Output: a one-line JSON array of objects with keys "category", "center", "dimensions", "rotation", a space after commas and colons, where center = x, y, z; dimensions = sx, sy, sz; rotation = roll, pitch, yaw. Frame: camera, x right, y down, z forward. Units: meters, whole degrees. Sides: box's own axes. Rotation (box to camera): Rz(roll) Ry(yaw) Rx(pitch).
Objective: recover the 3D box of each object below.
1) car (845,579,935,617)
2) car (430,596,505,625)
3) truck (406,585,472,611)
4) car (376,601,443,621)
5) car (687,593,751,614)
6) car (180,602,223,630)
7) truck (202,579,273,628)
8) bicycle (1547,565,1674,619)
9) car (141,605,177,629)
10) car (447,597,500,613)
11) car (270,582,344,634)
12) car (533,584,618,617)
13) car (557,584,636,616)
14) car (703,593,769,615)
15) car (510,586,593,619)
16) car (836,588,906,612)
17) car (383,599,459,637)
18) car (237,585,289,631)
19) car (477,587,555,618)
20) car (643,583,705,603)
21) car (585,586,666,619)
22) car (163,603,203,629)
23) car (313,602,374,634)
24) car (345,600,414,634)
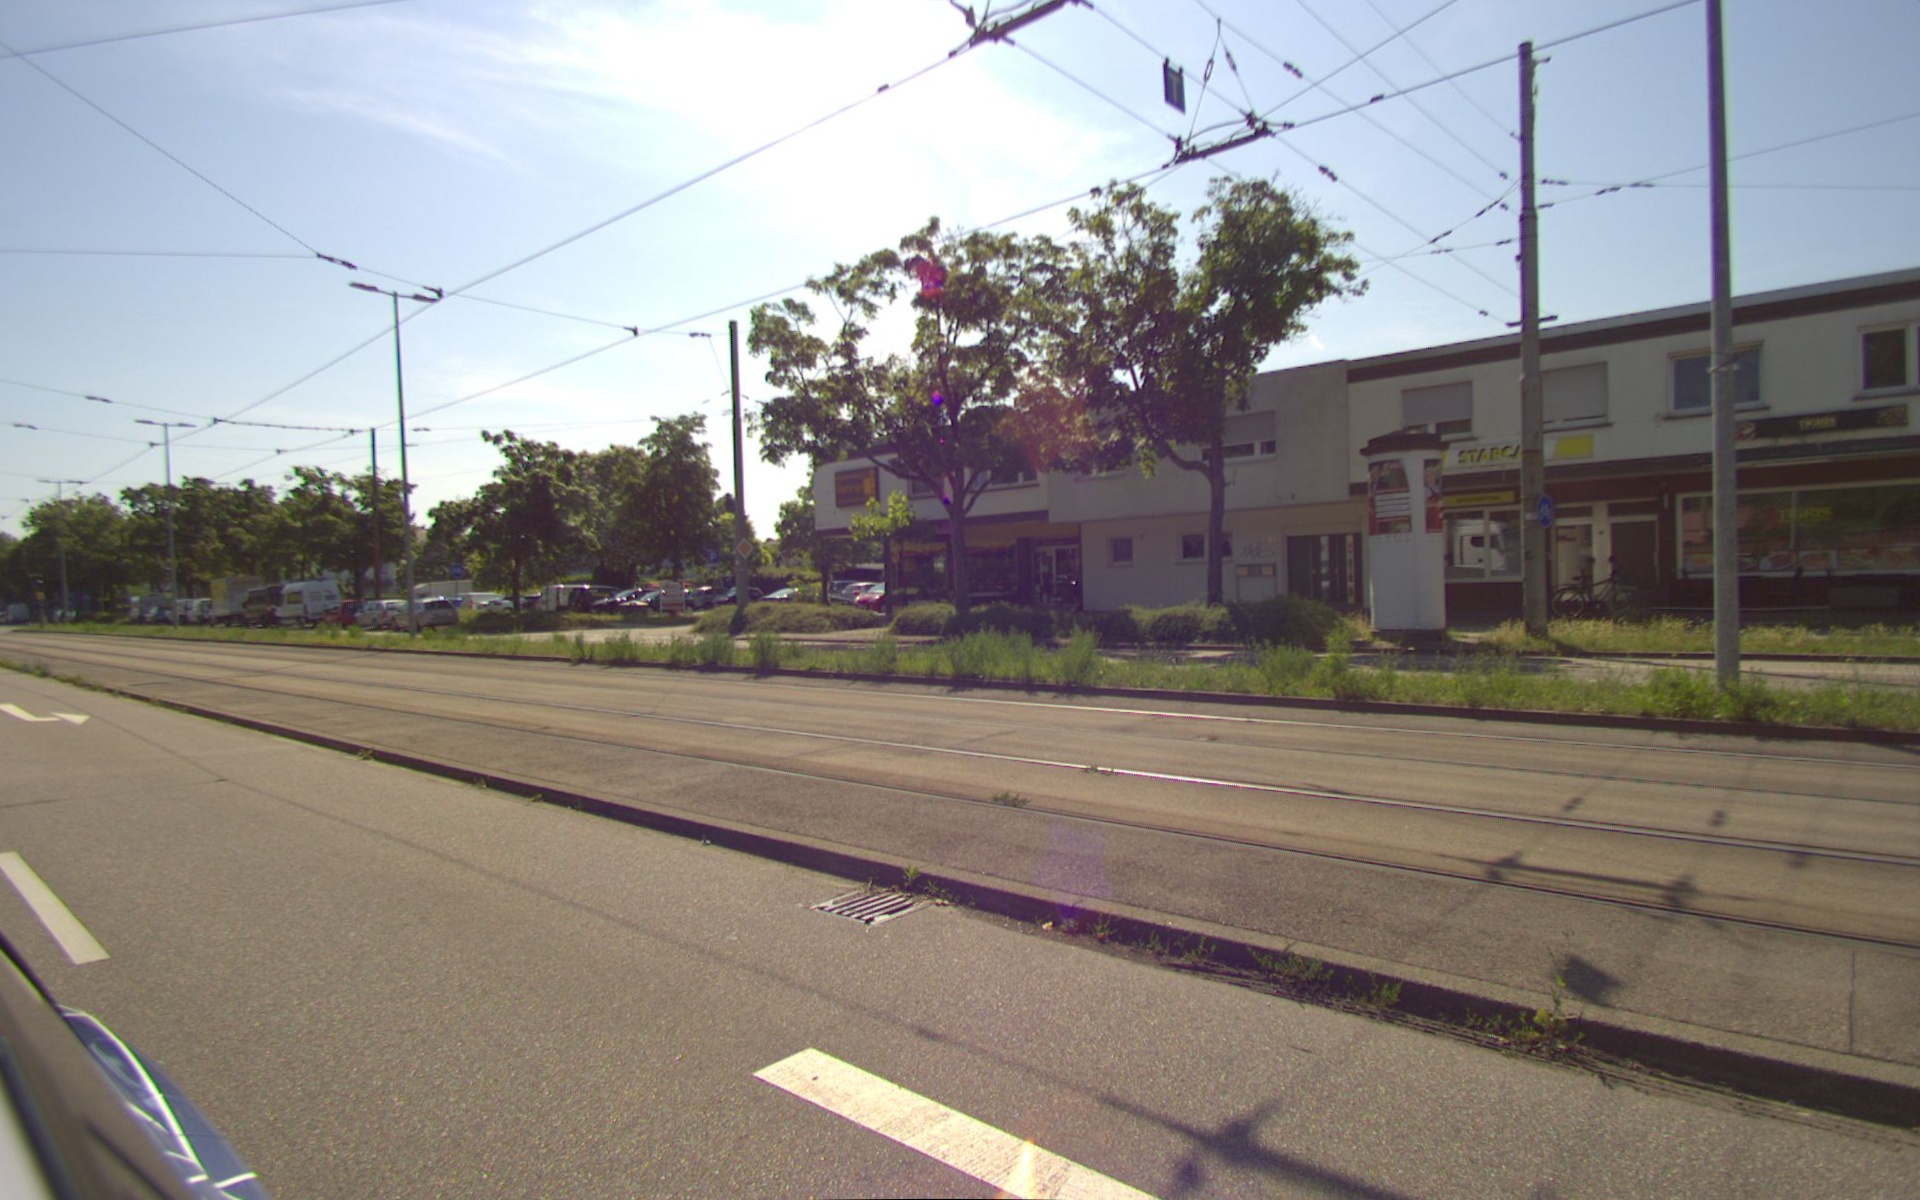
[{"category": "car", "center": [-3.281, -0.115, 48.019], "dimensions": [1.676, 1.616, 4.197], "rotation": [-1, 1, 42]}, {"category": "car", "center": [-33.302, 0.708, 68.420], "dimensions": [5.739, 1.825, 2.560], "rotation": [-1, 1, 42]}, {"category": "truck", "center": [-52.978, -0.237, 103.014], "dimensions": [1.988, 2.398, 5.584], "rotation": [-1, 1, 38]}, {"category": "car", "center": [-42.071, 0.812, 77.435], "dimensions": [1.676, 1.345, 4.198], "rotation": [-1, 1, 41]}, {"category": "car", "center": [-17.012, 0.245, 71.541], "dimensions": [1.676, 1.345, 4.197], "rotation": [-1, 1, 42]}, {"category": "car", "center": [-54.936, 1.159, 73.288], "dimensions": [4.631, 1.817, 1.483], "rotation": [-1, 4, 41]}, {"category": "truck", "center": [-48.314, 0.241, 67.623], "dimensions": [5.902, 2.956, 2.476], "rotation": [-1, 4, 42]}, {"category": "bicycle", "center": [14.687, -0.165, 22.897], "dimensions": [2.333, 1.161, 0.779], "rotation": [-1, -1, 42]}, {"category": "car", "center": [-64.411, 1.383, 81.363], "dimensions": [3.685, 1.799, 1.484], "rotation": [-1, 4, 40]}, {"category": "car", "center": [-45.994, 0.428, 95.683], "dimensions": [1.676, 1.345, 4.198], "rotation": [-1, 1, 41]}, {"category": "car", "center": [-37.254, 0.472, 57.653], "dimensions": [5.201, 2.673, 2.036], "rotation": [-1, 4, 41]}, {"category": "car", "center": [-22.066, -0.003, 58.188], "dimensions": [1.988, 1.751, 4.068], "rotation": [-1, 1, 38]}, {"category": "car", "center": [-20.237, -0.003, 56.469], "dimensions": [1.676, 1.646, 3.761], "rotation": [-1, 1, 42]}, {"category": "car", "center": [-15.412, 0.246, 69.728], "dimensions": [1.676, 1.345, 4.197], "rotation": [-1, 1, 42]}, {"category": "car", "center": [-24.041, 0.133, 59.669], "dimensions": [1.988, 1.751, 4.068], "rotation": [-1, 1, 38]}, {"category": "car", "center": [-5.375, -0.004, 61.619], "dimensions": [1.676, 1.345, 4.197], "rotation": [-1, 1, 42]}, {"category": "car", "center": [-25.246, 0.837, 47.338], "dimensions": [4.255, 1.544, 1.654], "rotation": [-1, 4, 41]}, {"category": "car", "center": [-42.366, 0.496, 61.493], "dimensions": [4.005, 2.643, 1.483], "rotation": [-1, 4, 41]}, {"category": "car", "center": [-28.027, 0.138, 64.001], "dimensions": [1.988, 1.751, 4.068], "rotation": [-1, 1, 38]}, {"category": "car", "center": [-21.104, -0.514, 74.698], "dimensions": [1.674, 1.345, 4.201], "rotation": [-1, 1, 39]}, {"category": "car", "center": [-17.964, 0.123, 54.434], "dimensions": [1.676, 1.646, 3.761], "rotation": [-1, 1, 42]}, {"category": "car", "center": [-59.752, 1.234, 77.823], "dimensions": [4.056, 1.859, 1.484], "rotation": [-1, 4, 40]}, {"category": "car", "center": [-33.157, 0.950, 54.369], "dimensions": [3.791, 1.544, 1.654], "rotation": [-1, 4, 41]}, {"category": "car", "center": [-29.310, 0.865, 51.030], "dimensions": [4.255, 1.544, 1.654], "rotation": [-1, 4, 41]}]
